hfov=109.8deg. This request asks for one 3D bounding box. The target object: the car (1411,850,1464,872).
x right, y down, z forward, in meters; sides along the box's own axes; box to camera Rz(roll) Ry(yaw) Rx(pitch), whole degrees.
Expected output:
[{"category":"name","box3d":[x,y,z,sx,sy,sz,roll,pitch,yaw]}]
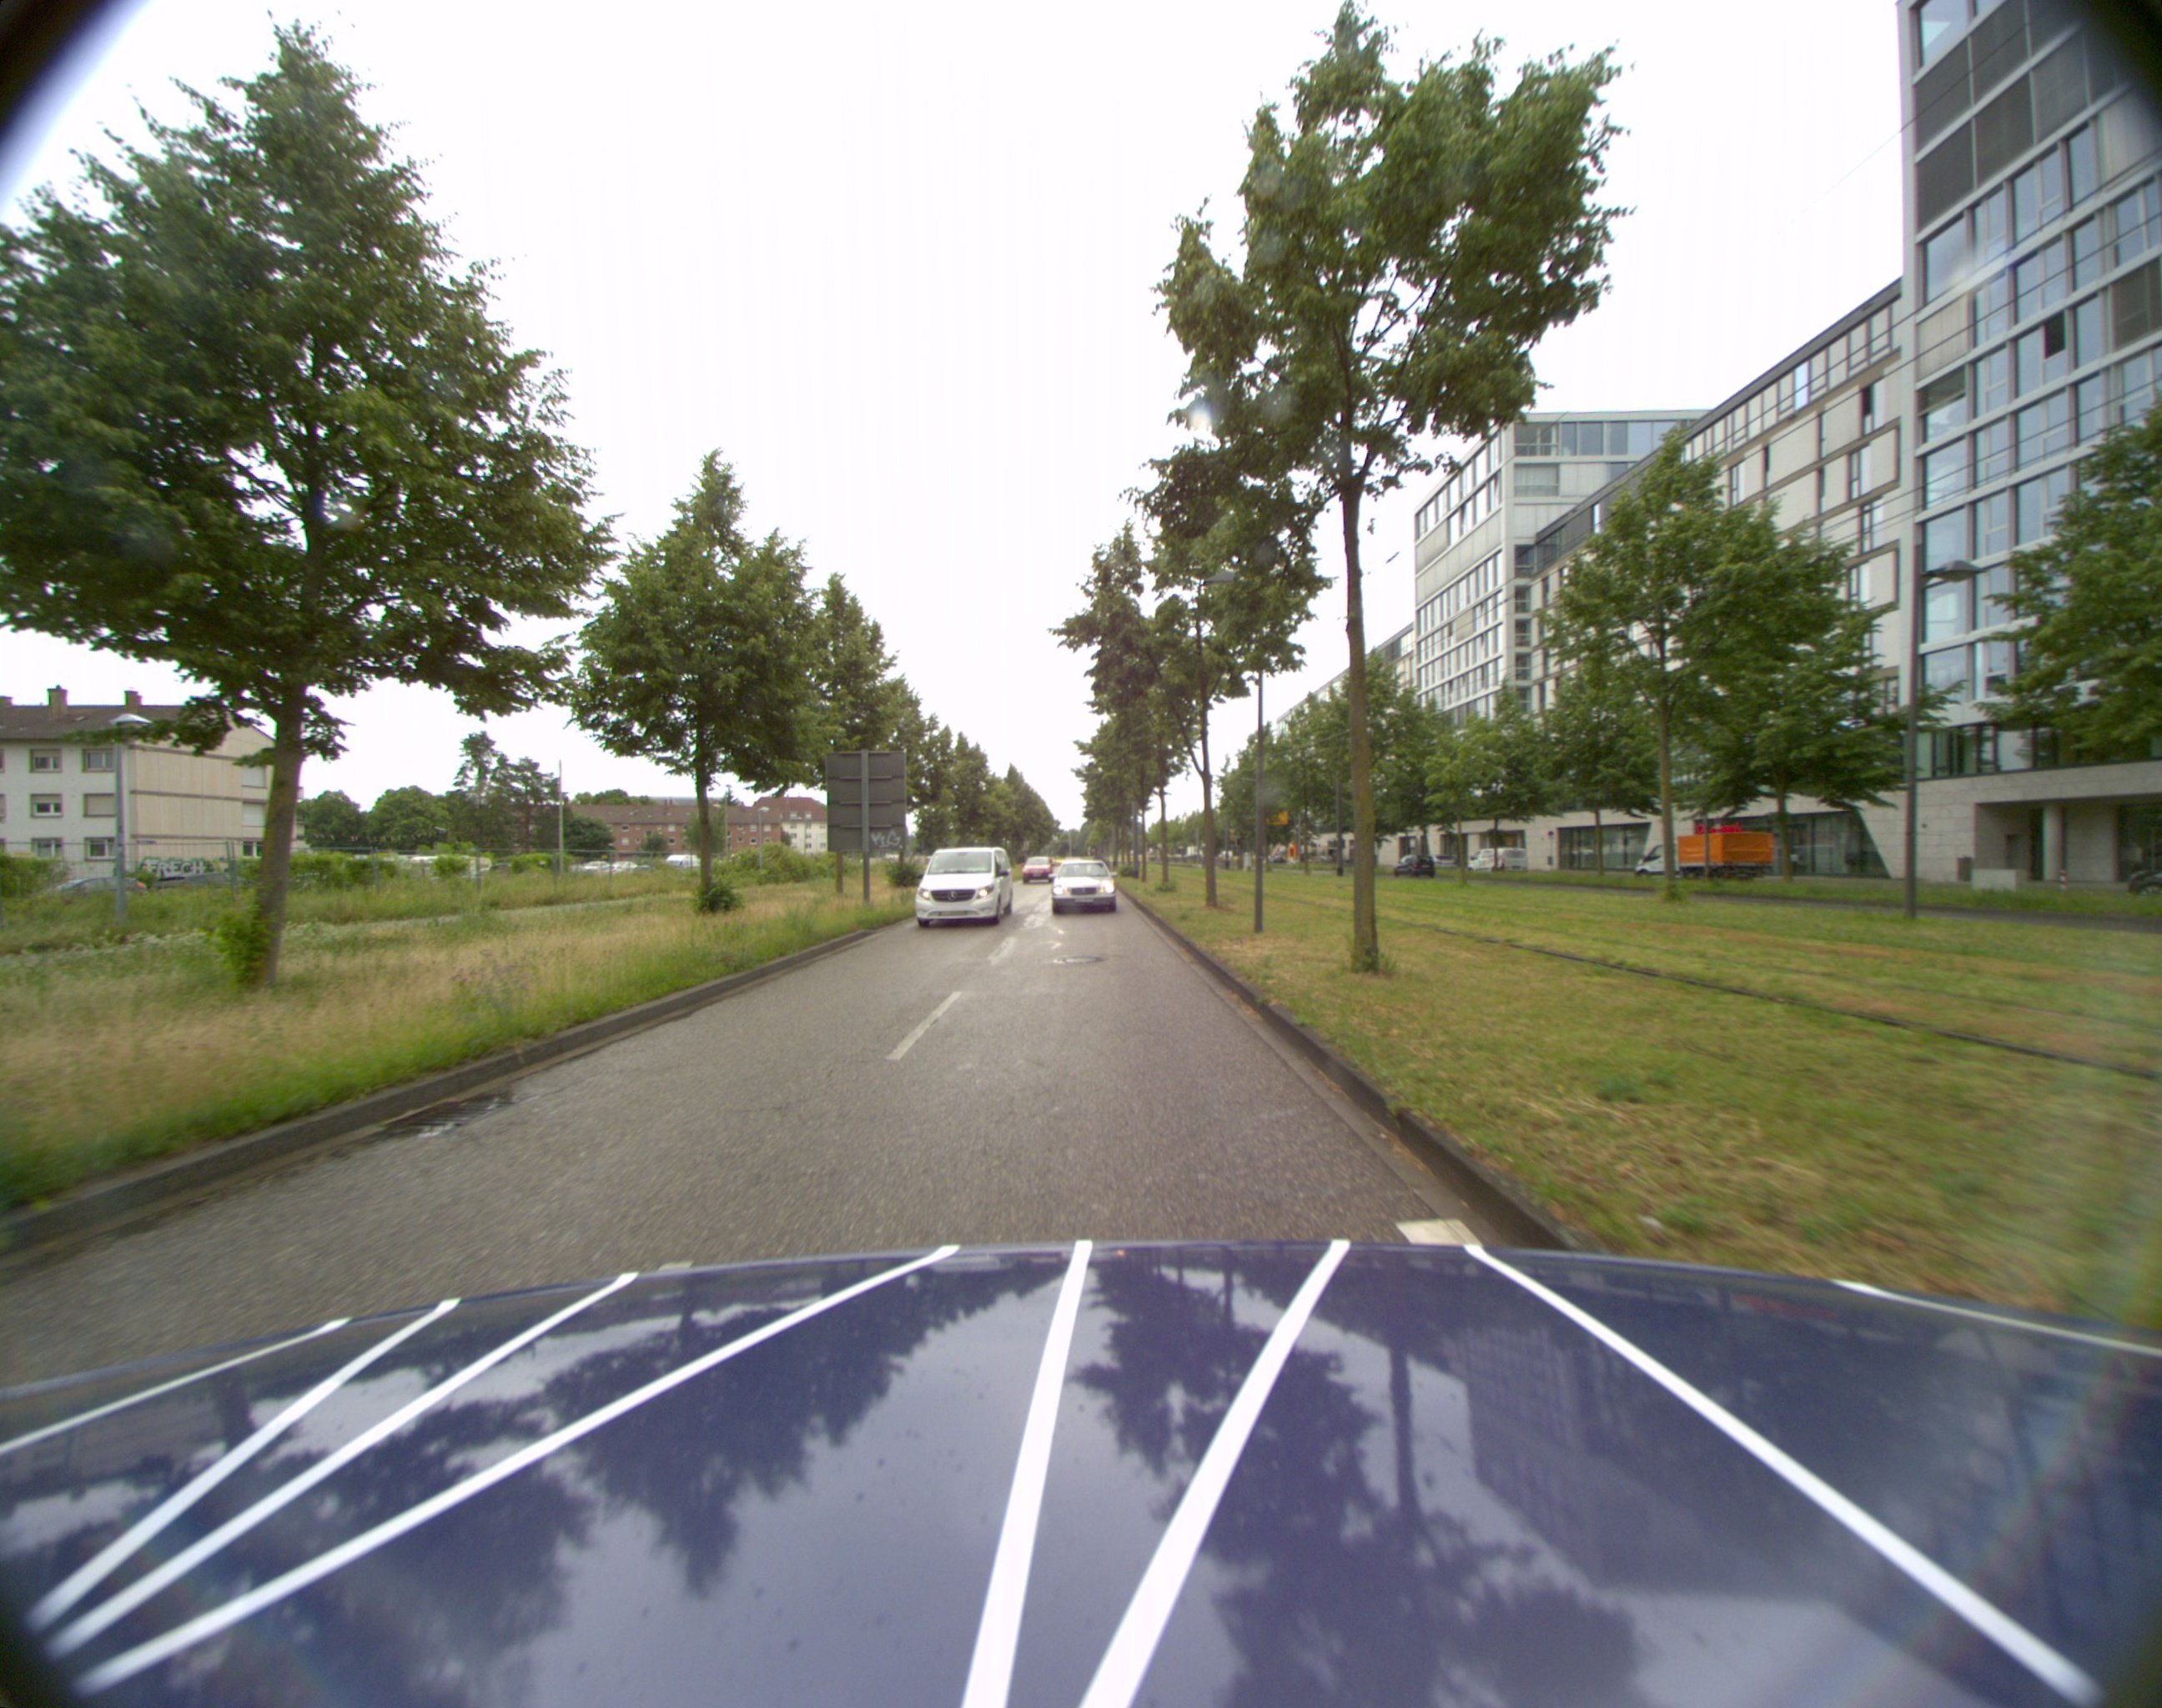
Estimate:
[{"category":"car","box3d":[28.818,0.544,61.577,2.150,1.702,4.463,-1,0,0]}]

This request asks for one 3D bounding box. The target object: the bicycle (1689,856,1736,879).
[{"category":"bicycle","box3d":[27.030,0.557,32.554,0.600,0.939,1.757,-1,0,4]}]

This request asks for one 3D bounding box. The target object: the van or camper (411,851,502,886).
[{"category":"van or camper","box3d":[-50.889,1.133,62.180,2.314,2.673,6.395,-1,0,-2]}]

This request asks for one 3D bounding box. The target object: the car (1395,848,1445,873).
[{"category":"car","box3d":[23.579,0.417,52.988,1.998,1.647,3.700,-1,0,4]}]

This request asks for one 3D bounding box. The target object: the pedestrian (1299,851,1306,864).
[{"category":"pedestrian","box3d":[28.962,0.413,99.292,0.712,1.681,0.793,-1,1,3]}]

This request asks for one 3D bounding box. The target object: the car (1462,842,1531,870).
[{"category":"car","box3d":[28.902,0.104,53.079,1.999,1.841,5.164,-1,0,-1]}]

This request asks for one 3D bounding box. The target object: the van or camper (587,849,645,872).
[{"category":"van or camper","box3d":[-52.139,0.694,85.476,2.509,2.294,6.646,-3,0,-2]}]

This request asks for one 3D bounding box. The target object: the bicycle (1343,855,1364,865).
[{"category":"bicycle","box3d":[29.119,0.616,81.117,1.983,1.029,0.696,-1,1,2]}]

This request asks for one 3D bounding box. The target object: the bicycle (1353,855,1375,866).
[{"category":"bicycle","box3d":[28.689,0.676,77.030,1.983,1.029,0.696,-1,1,2]}]

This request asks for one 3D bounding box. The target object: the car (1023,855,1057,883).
[{"category":"car","box3d":[-2.525,0.916,47.551,1.799,1.603,4.245,-1,0,1]}]

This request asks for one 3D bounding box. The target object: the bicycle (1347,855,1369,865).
[{"category":"bicycle","box3d":[28.689,0.643,78.732,1.983,1.029,0.696,-1,1,2]}]

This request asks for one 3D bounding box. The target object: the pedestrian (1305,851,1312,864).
[{"category":"pedestrian","box3d":[29.746,0.435,99.454,0.712,1.681,0.793,-1,1,3]}]

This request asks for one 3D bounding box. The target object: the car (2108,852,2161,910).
[{"category":"car","box3d":[28.500,0.686,18.394,1.859,1.456,3.988,-1,0,0]}]

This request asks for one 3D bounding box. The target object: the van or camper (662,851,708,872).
[{"category":"van or camper","box3d":[-52.083,0.981,100.134,2.784,2.521,6.417,-3,0,-2]}]

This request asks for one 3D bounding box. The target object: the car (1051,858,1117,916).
[{"category":"car","box3d":[0.067,0.894,22.604,1.738,1.451,4.607,-1,0,0]}]

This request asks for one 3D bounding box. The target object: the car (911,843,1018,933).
[{"category":"car","box3d":[-2.829,0.737,19.588,1.972,1.968,5.090,-1,1,0]}]

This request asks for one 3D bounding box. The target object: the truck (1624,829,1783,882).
[{"category":"truck","box3d":[29.383,0.070,36.278,2.432,2.278,6.308,-1,0,0]}]
